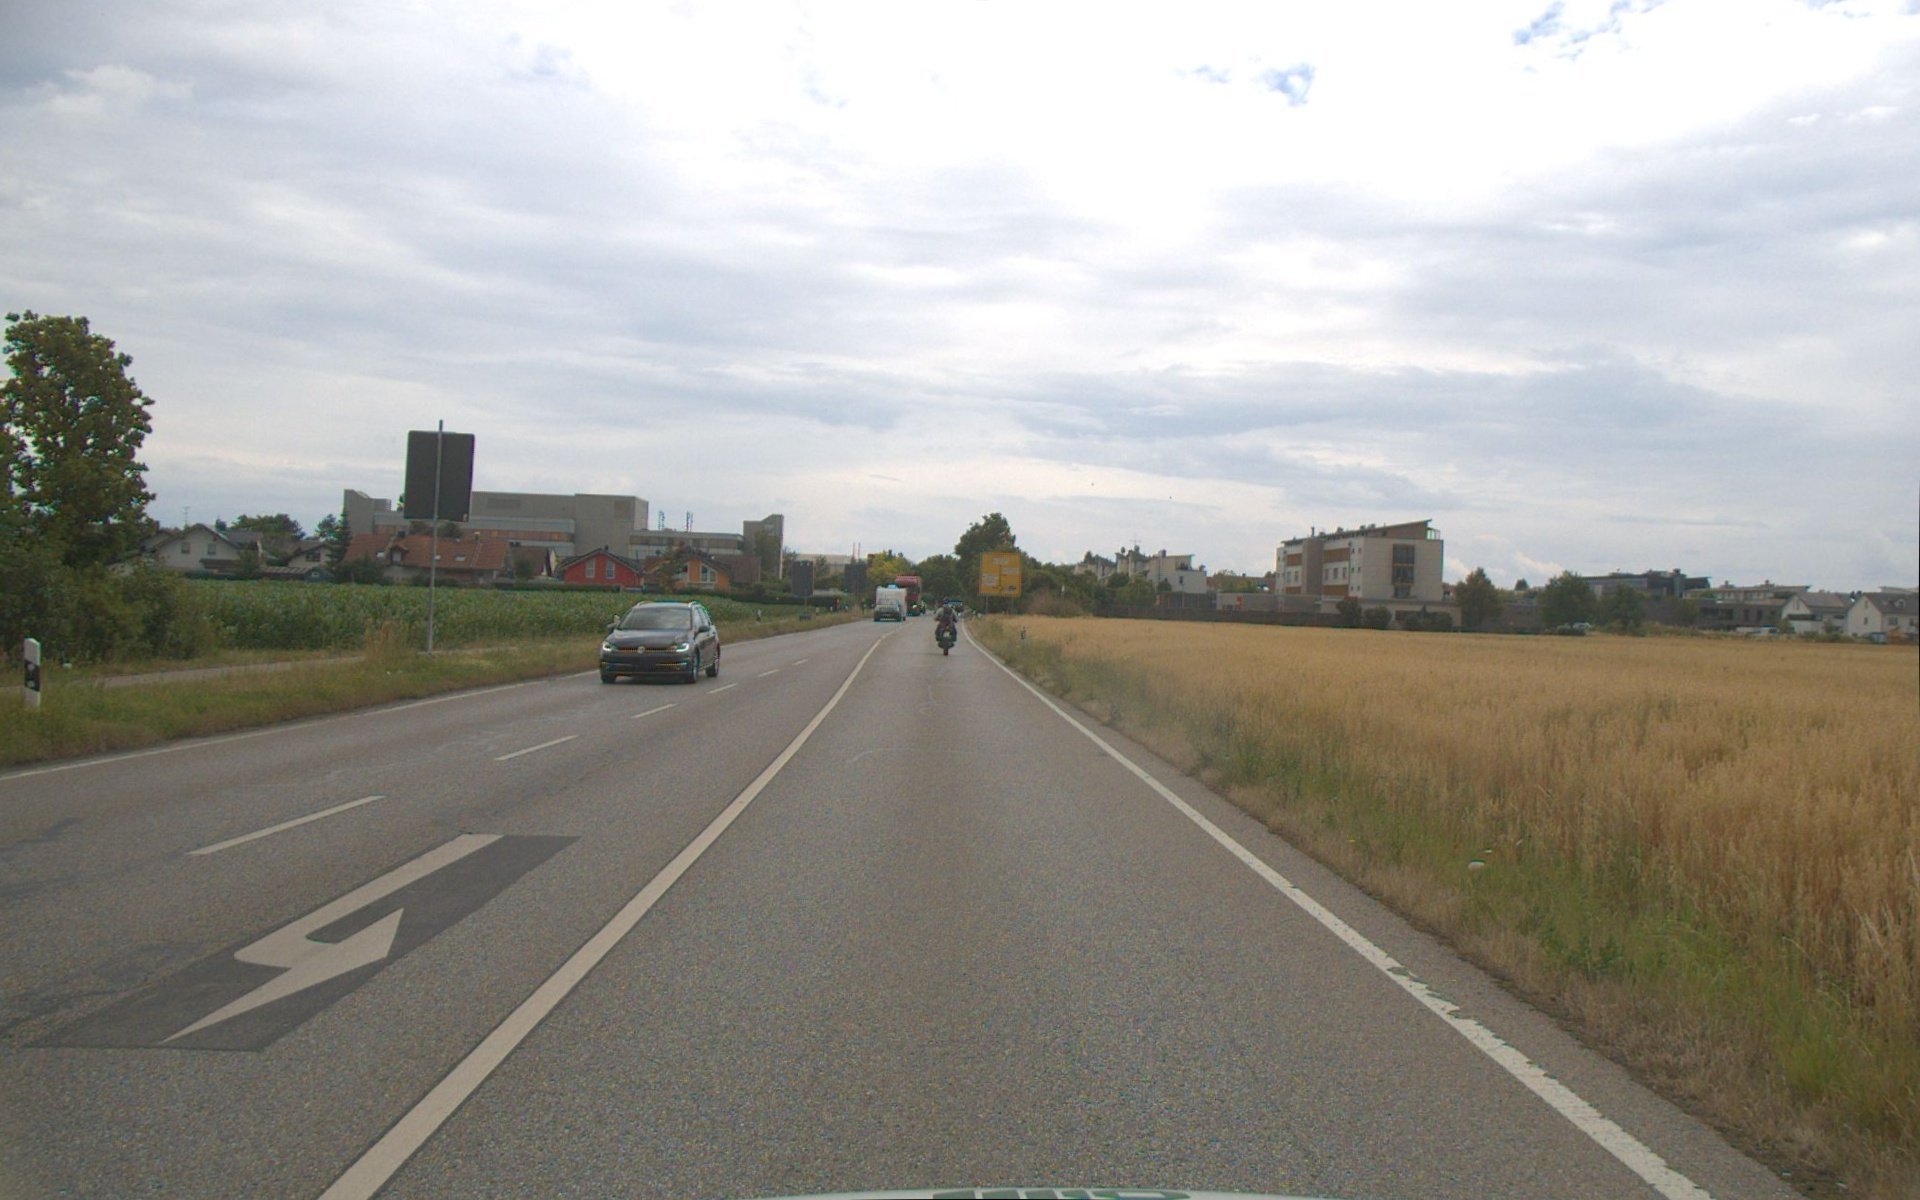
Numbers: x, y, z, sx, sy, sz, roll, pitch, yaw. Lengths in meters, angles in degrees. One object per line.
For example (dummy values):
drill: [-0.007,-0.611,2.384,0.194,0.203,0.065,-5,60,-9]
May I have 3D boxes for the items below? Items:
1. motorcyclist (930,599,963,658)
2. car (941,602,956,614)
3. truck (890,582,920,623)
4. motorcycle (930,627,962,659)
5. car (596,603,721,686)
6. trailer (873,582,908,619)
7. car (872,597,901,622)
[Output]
motorcyclist: [-0.415,0.884,51.242,0.922,1.780,1.200,2,-1,0]
car: [-1.513,1.040,219.311,1.817,1.498,3.999,2,-1,0]
truck: [-5.646,0.290,170.972,2.673,4.057,6.815,2,-1,0]
motorcycle: [-0.424,1.329,51.270,0.922,0.905,2.145,2,-1,0]
car: [-5.665,0.813,31.540,1.635,1.454,4.302,1,0,-1]
trailer: [-5.438,0.077,130.405,2.277,2.777,7.842,2,0,0]
car: [-5.504,0.713,124.320,1.953,1.729,4.675,2,0,0]
